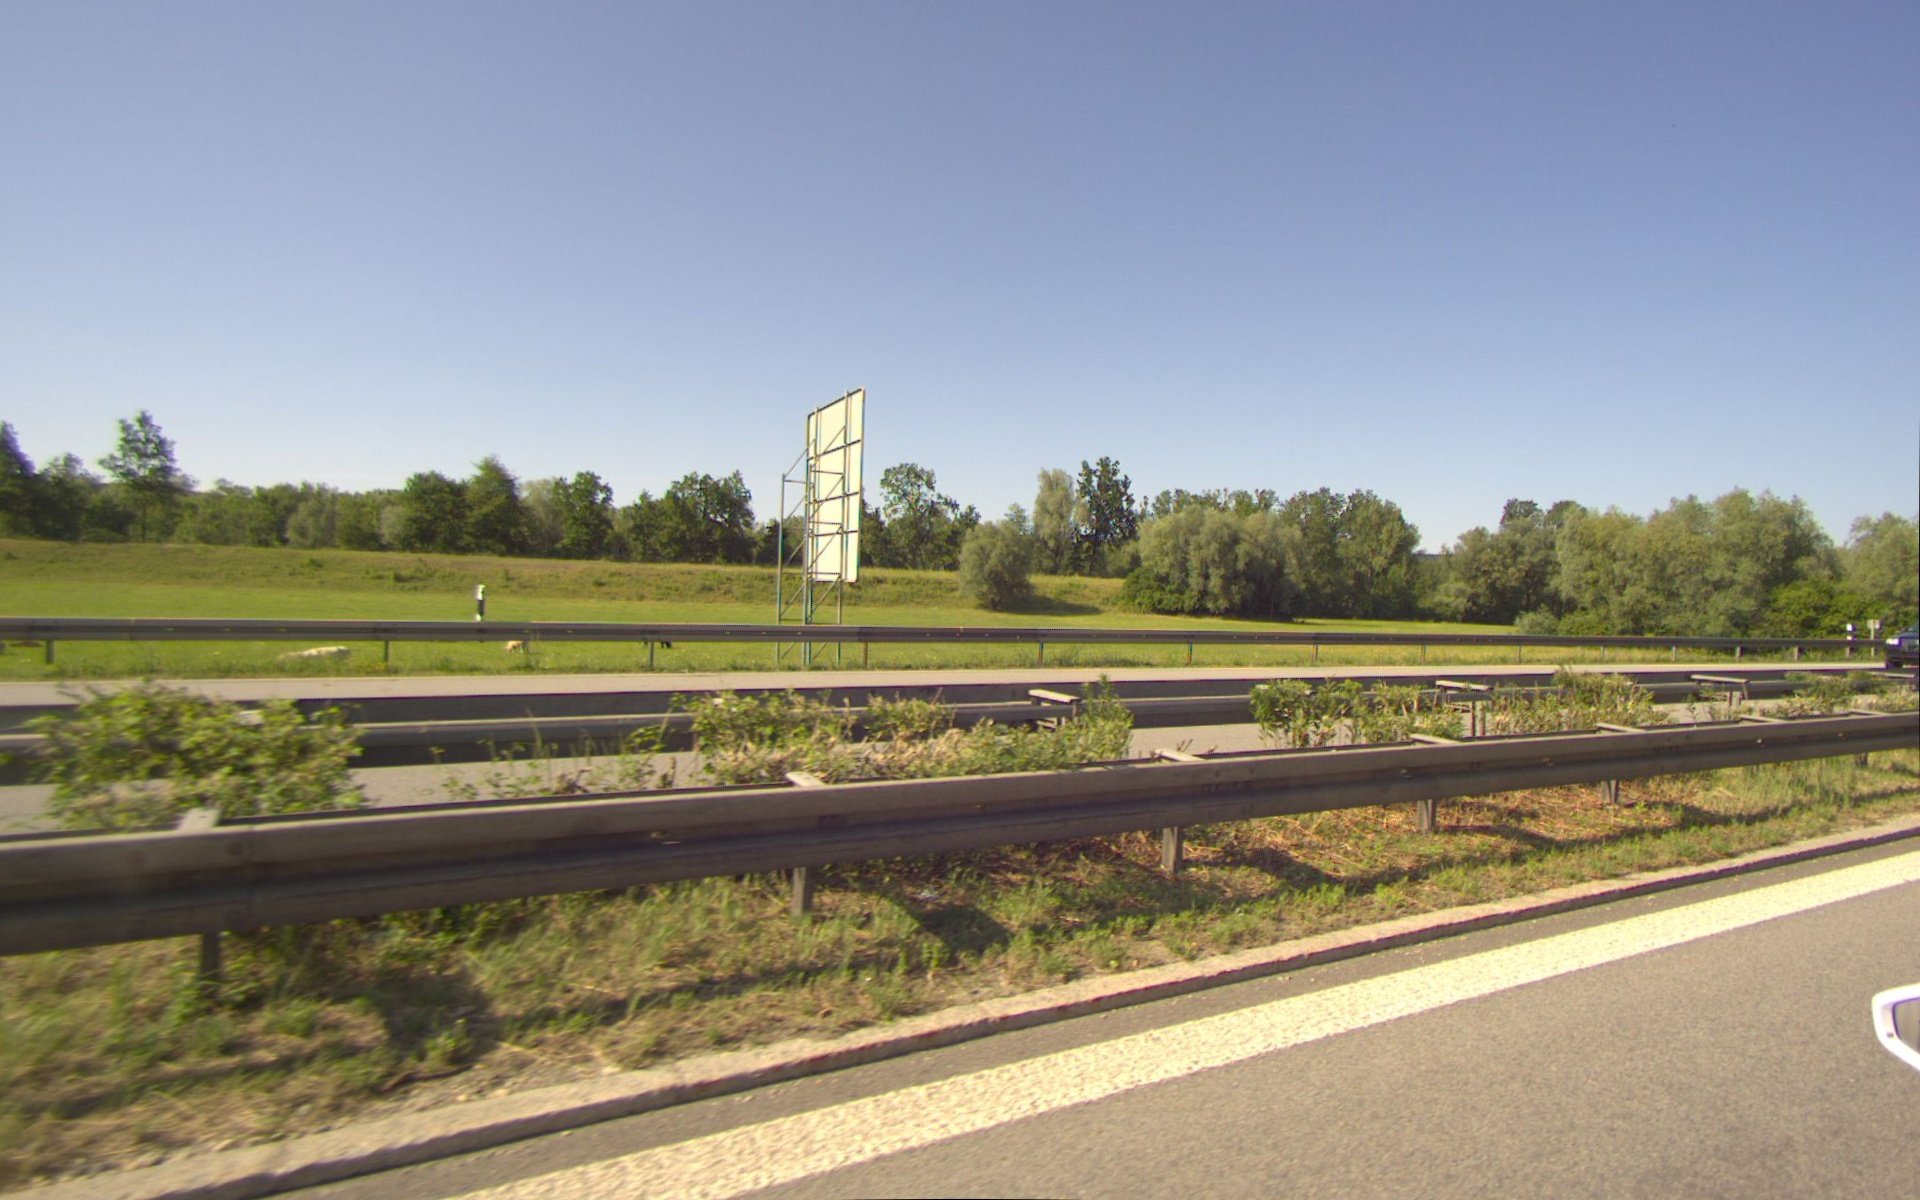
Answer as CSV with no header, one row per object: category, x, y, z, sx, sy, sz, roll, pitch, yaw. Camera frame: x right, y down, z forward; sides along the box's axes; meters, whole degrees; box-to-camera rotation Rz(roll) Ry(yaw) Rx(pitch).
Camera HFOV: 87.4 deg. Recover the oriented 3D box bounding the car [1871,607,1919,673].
car,28.658,1.191,29.215,4.813,1.827,1.841,2,-1,-30
